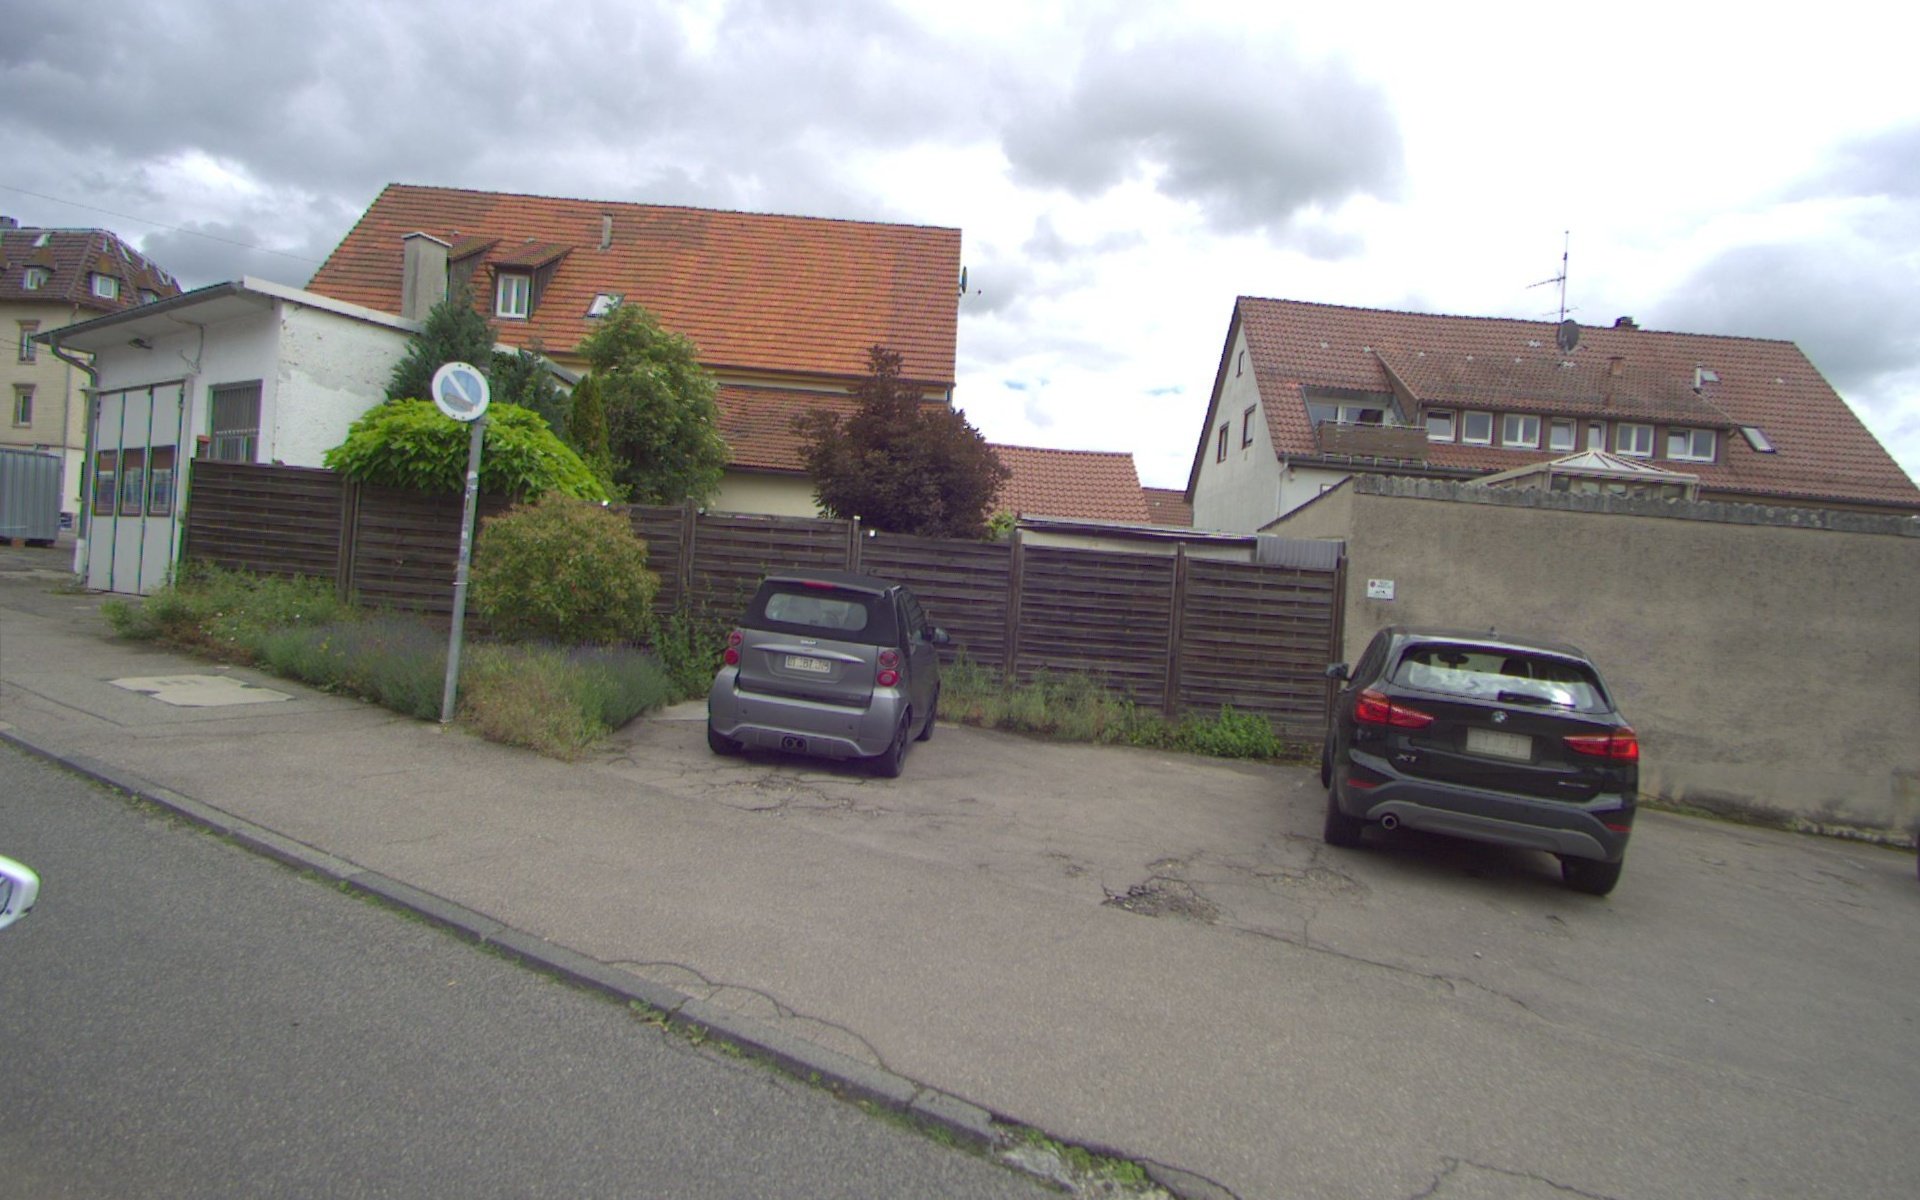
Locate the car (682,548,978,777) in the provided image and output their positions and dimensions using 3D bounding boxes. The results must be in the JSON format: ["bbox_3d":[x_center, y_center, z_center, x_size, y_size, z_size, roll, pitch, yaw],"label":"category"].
[{"bbox_3d":[-0.973,0.467,9.216,1.671,1.539,3.323,6,1,9],"label":"car"}]

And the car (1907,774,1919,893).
[{"bbox_3d":[8.505,1.743,7.094,1.696,1.504,3.322,7,-2,28],"label":"car"}]

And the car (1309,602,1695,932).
[{"bbox_3d":[3.869,0.999,7.923,1.869,1.675,4.122,7,1,20],"label":"car"}]
